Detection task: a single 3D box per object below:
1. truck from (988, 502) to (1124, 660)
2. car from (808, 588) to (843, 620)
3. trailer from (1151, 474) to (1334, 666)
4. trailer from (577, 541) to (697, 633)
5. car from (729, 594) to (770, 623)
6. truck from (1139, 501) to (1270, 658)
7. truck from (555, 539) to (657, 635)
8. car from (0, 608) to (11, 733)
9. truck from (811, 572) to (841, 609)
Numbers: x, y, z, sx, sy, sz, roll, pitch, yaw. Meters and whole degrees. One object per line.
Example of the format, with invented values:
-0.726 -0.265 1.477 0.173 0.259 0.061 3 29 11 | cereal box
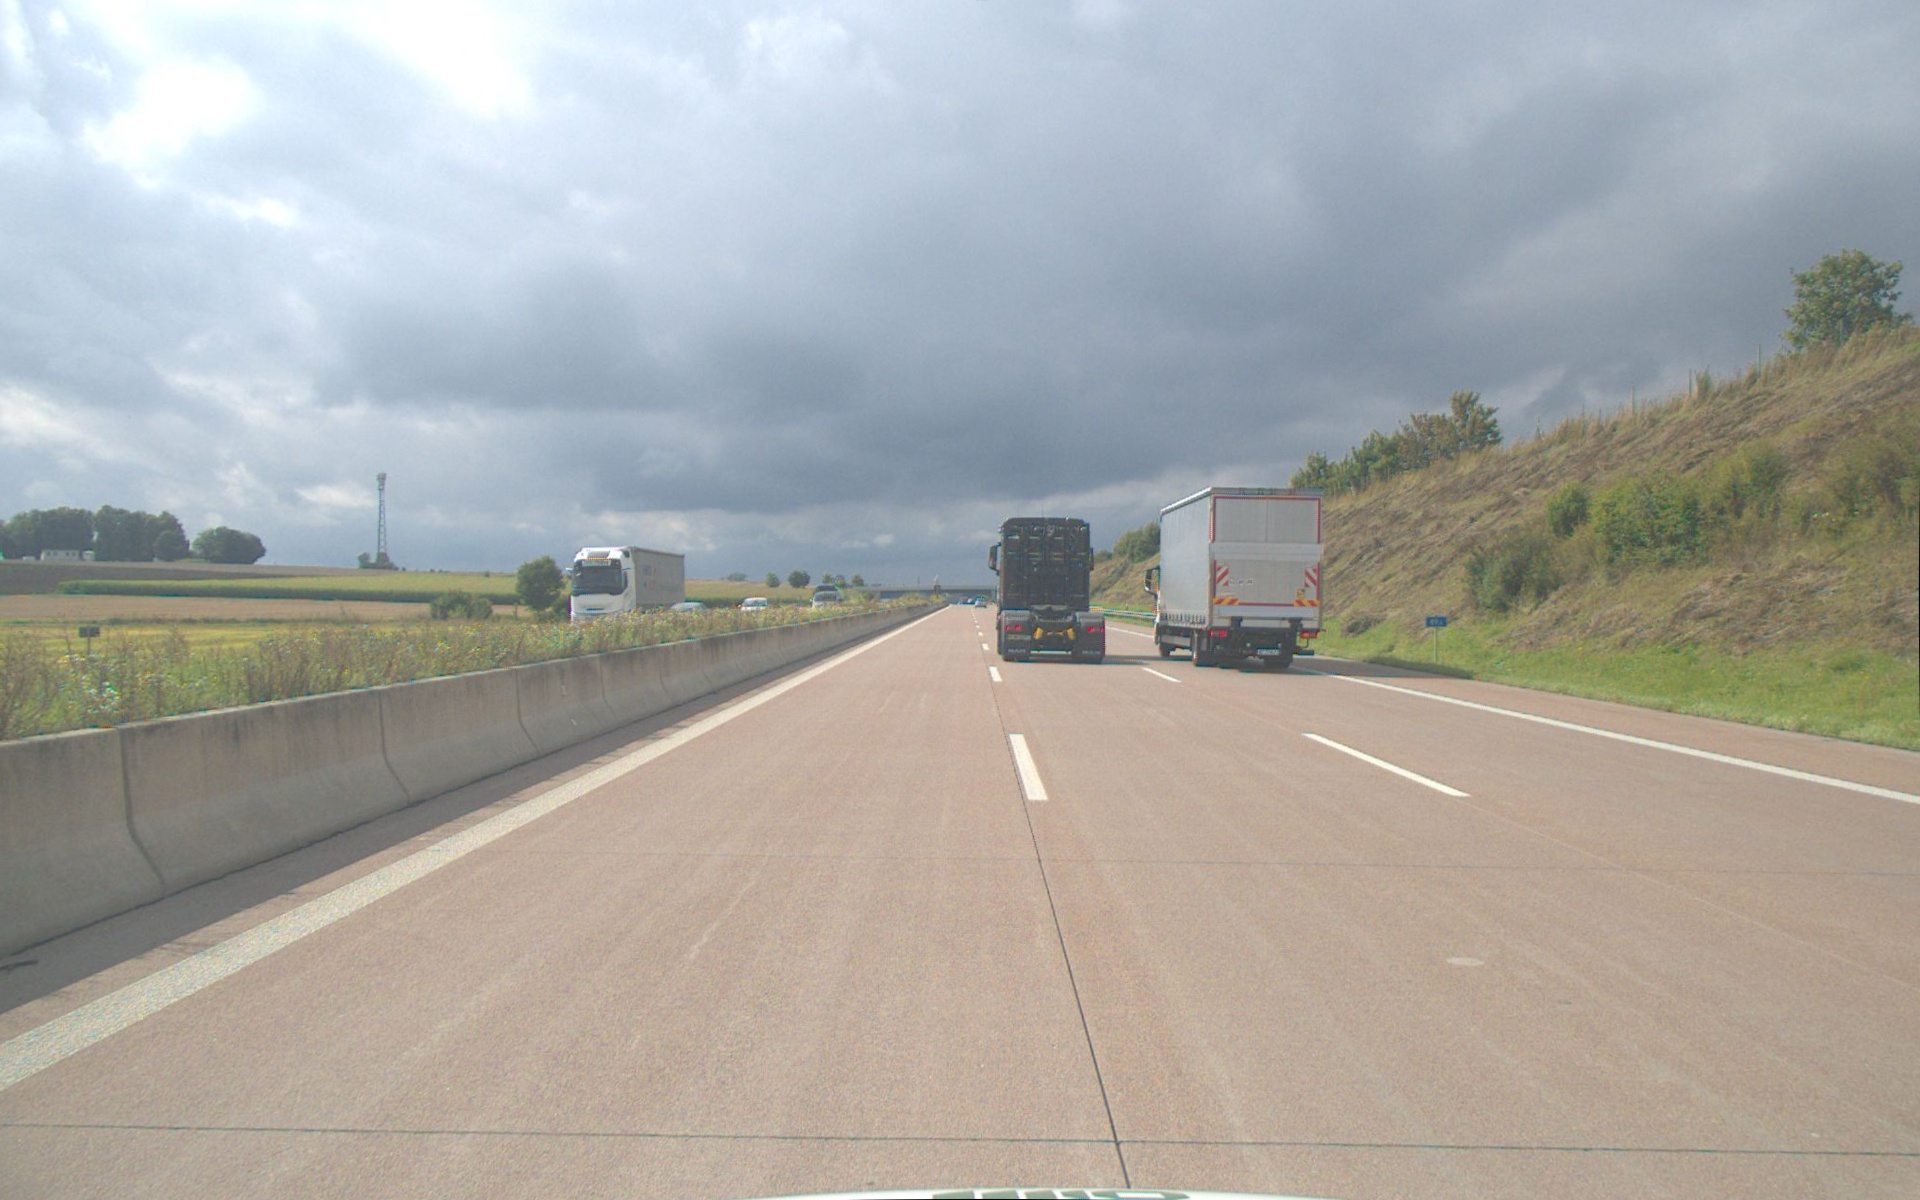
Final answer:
2.316 -0.428 42.616 2.790 3.612 8.317 1 0 -1 | truck
-9.024 0.273 111.130 1.953 2.049 5.245 -2 0 -1 | car
6.595 -0.628 39.994 2.692 4.082 8.667 1 0 -2 | trailer
-16.021 -0.667 83.324 3.141 4.170 13.260 2 0 1 | trailer
-12.747 0.495 100.360 1.953 1.686 4.784 -1 0 -1 | car
6.503 -0.508 44.621 2.693 3.960 4.544 1 0 -2 | truck
-16.150 -0.594 75.879 3.140 4.170 6.127 2 0 1 | truck
-12.734 0.892 18.446 1.954 1.534 4.272 -1 0 -3 | car
-16.071 -1.128 198.536 2.832 4.170 6.336 -2 0 1 | truck
